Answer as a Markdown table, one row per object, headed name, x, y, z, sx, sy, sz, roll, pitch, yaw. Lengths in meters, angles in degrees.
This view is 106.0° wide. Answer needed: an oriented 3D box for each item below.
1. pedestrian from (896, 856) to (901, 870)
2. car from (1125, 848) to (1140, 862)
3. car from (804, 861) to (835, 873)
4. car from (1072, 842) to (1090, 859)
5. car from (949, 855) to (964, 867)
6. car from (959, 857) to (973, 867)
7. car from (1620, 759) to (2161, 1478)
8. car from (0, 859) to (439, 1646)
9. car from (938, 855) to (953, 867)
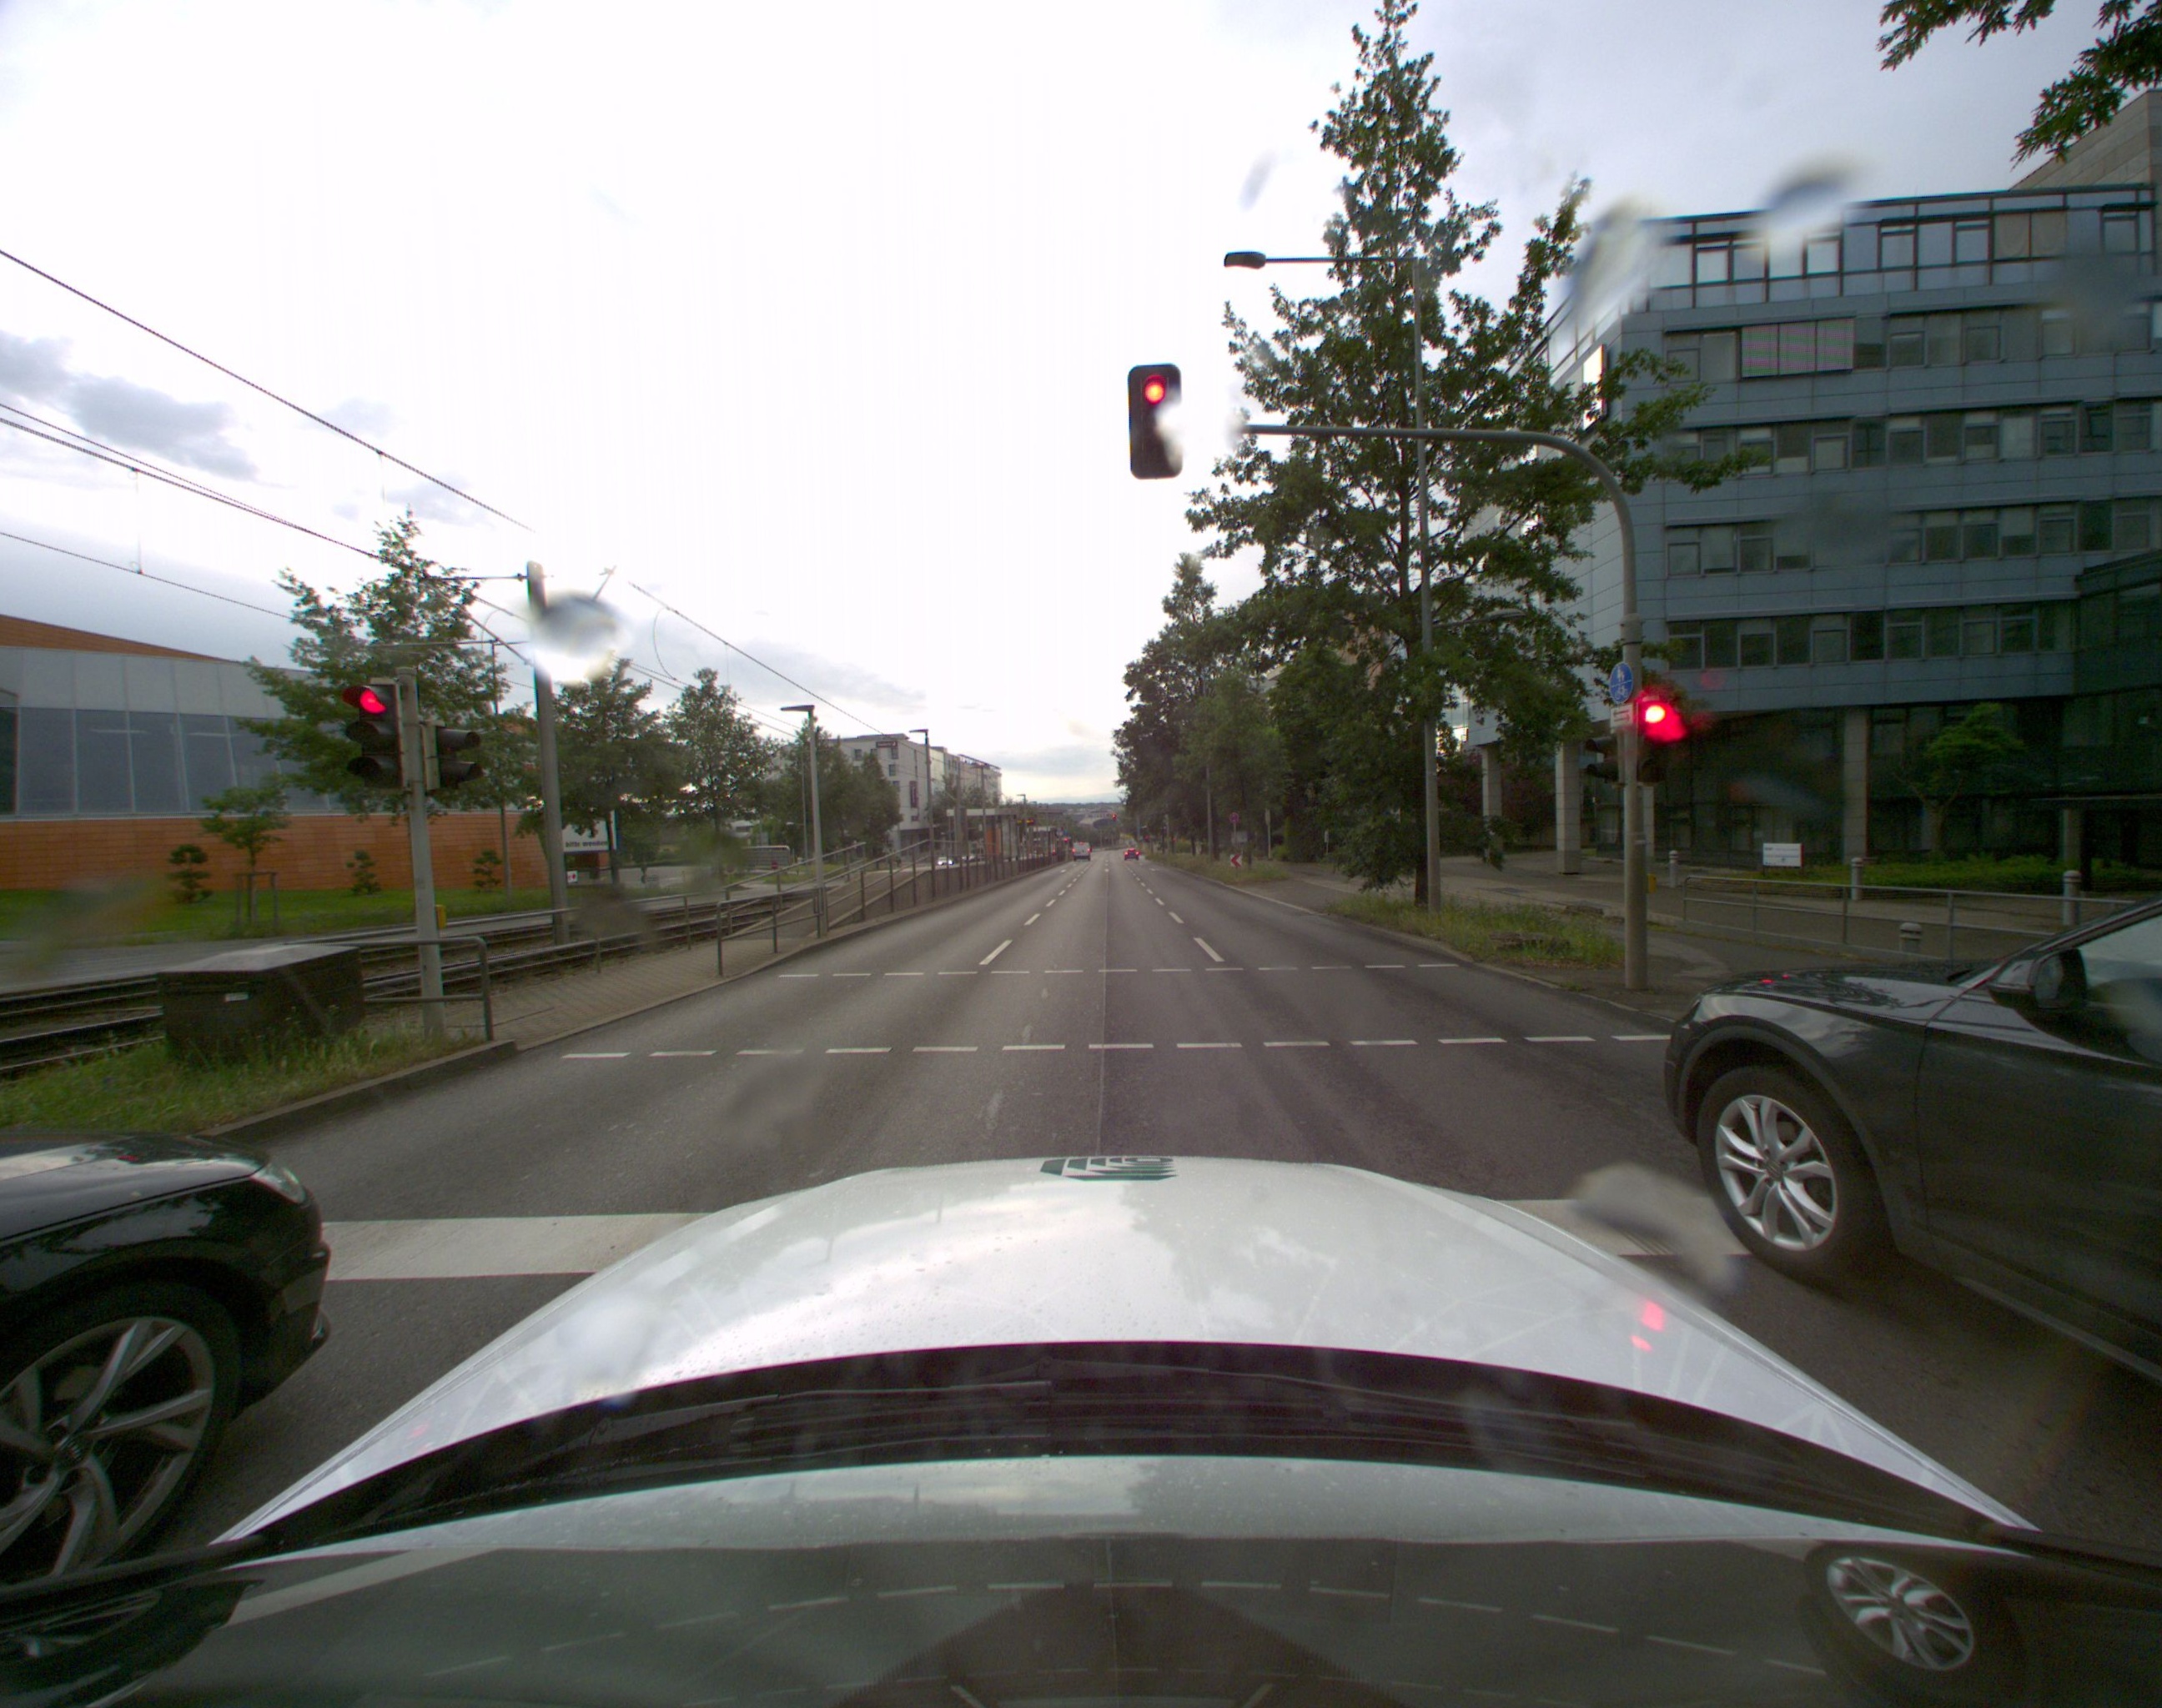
| name | x | y | z | sx | sy | sz | roll | pitch | yaw |
| --- | --- | --- | --- | --- | --- | --- | --- | --- | --- |
| pedestrian | -24.177 | 1.212 | 108.105 | 0.473 | 1.920 | 0.490 | -1 | 0 | 1 |
| car | 6.479 | 0.127 | 102.832 | 1.767 | 1.691 | 3.847 | -1 | 0 | 2 |
| car | -31.199 | 1.515 | 97.194 | 3.341 | 1.387 | 1.440 | -1 | 0 | 18 |
| car | -0.016 | -0.450 | 102.652 | 2.085 | 2.053 | 4.608 | -1 | 0 | 2 |
| car | -15.788 | 0.855 | 103.415 | 1.651 | 1.436 | 3.865 | -4 | 0 | -11 |
| car | -16.458 | 1.172 | 116.518 | 1.562 | 1.378 | 3.518 | -2 | 0 | 0 |
| car | 3.303 | 0.577 | 1.444 | 1.811 | 1.612 | 4.472 | -1 | 0 | 2 |
| car | -2.964 | 0.777 | 0.288 | 1.774 | 1.466 | 4.515 | -1 | 0 | 2 |
| car | -18.194 | 0.920 | 109.328 | 1.648 | 1.436 | 3.871 | -4 | 0 | -6 |
